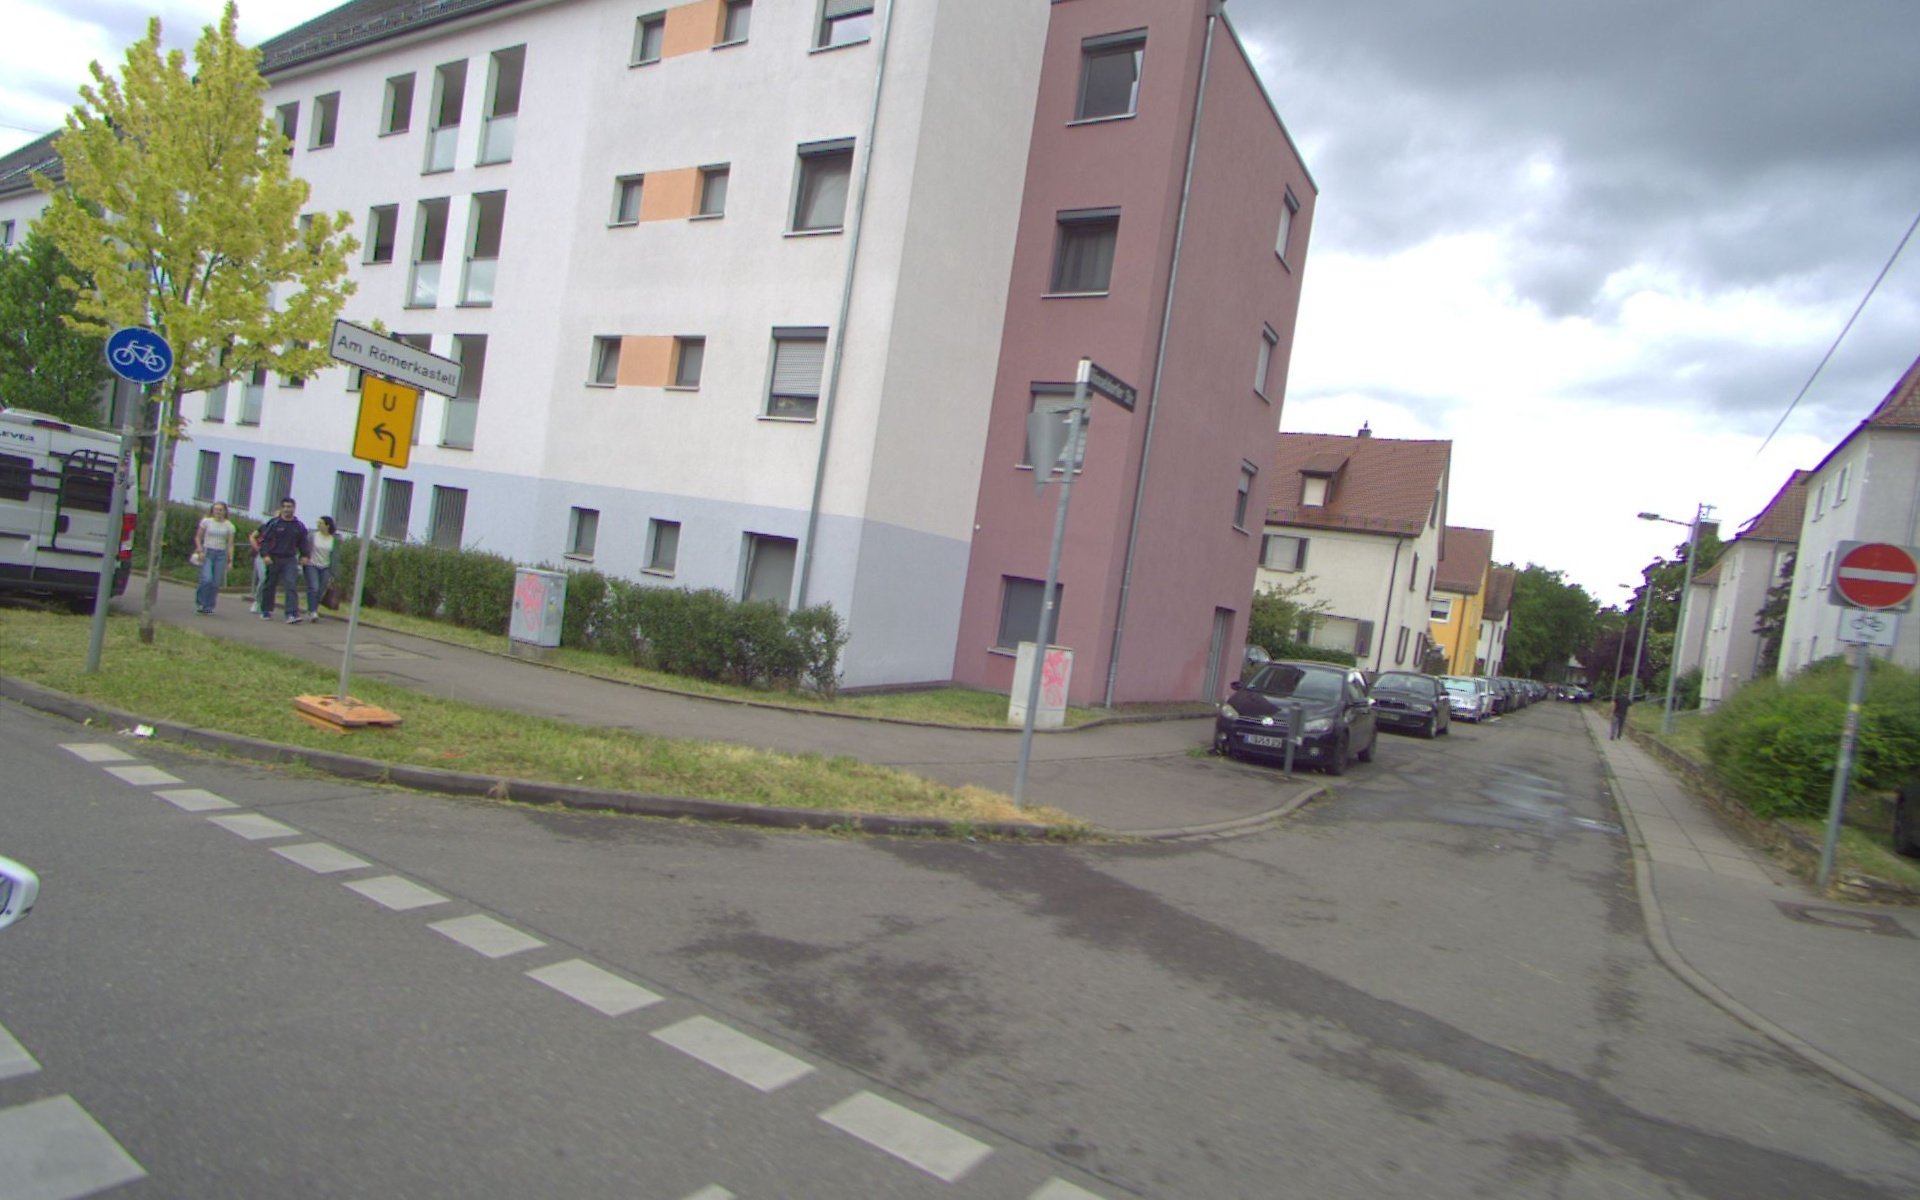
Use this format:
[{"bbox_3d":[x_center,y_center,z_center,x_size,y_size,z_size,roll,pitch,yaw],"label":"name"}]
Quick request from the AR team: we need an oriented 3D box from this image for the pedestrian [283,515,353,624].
[{"bbox_3d":[-10.010,-0.472,15.694,0.565,1.628,0.657,7,5,23],"label":"pedestrian"}]

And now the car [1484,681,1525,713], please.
[{"bbox_3d":[30.185,5.357,55.722,1.676,1.437,3.993,7,-1,31],"label":"car"}]

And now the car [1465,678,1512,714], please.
[{"bbox_3d":[25.707,4.653,48.895,1.676,1.437,3.993,7,-1,31],"label":"car"}]

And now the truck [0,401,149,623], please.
[{"bbox_3d":[-13.809,-1.358,13.927,5.594,2.597,2.055,7,0,31],"label":"truck"}]

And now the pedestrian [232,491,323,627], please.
[{"bbox_3d":[-10.140,-0.598,14.957,0.752,1.910,0.672,6,1,20],"label":"pedestrian"}]

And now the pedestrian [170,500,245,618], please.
[{"bbox_3d":[-11.168,-0.599,14.935,0.551,1.664,0.578,6,1,18],"label":"pedestrian"}]

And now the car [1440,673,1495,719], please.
[{"bbox_3d":[19.753,3.705,39.090,1.675,1.437,3.996,7,-1,28],"label":"car"}]

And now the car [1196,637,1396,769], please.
[{"bbox_3d":[5.104,1.497,14.924,1.731,1.473,3.991,7,-1,33],"label":"car"}]

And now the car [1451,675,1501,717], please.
[{"bbox_3d":[22.031,4.069,42.937,1.675,1.437,3.996,7,-1,28],"label":"car"}]

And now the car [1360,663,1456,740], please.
[{"bbox_3d":[10.658,2.354,23.772,1.675,1.437,3.996,7,-1,28],"label":"car"}]

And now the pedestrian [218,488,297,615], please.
[{"bbox_3d":[-11.100,-0.749,15.909,0.608,1.910,0.672,6,1,15],"label":"pedestrian"}]

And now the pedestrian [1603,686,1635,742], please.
[{"bbox_3d":[22.835,3.936,34.881,0.705,1.817,0.732,7,0,30],"label":"pedestrian"}]

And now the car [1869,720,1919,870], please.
[{"bbox_3d":[10.642,2.100,9.933,1.661,1.471,3.991,5,-1,32],"label":"car"}]

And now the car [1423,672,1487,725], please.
[{"bbox_3d":[16.559,3.259,33.573,1.675,1.437,3.996,7,-1,28],"label":"car"}]
